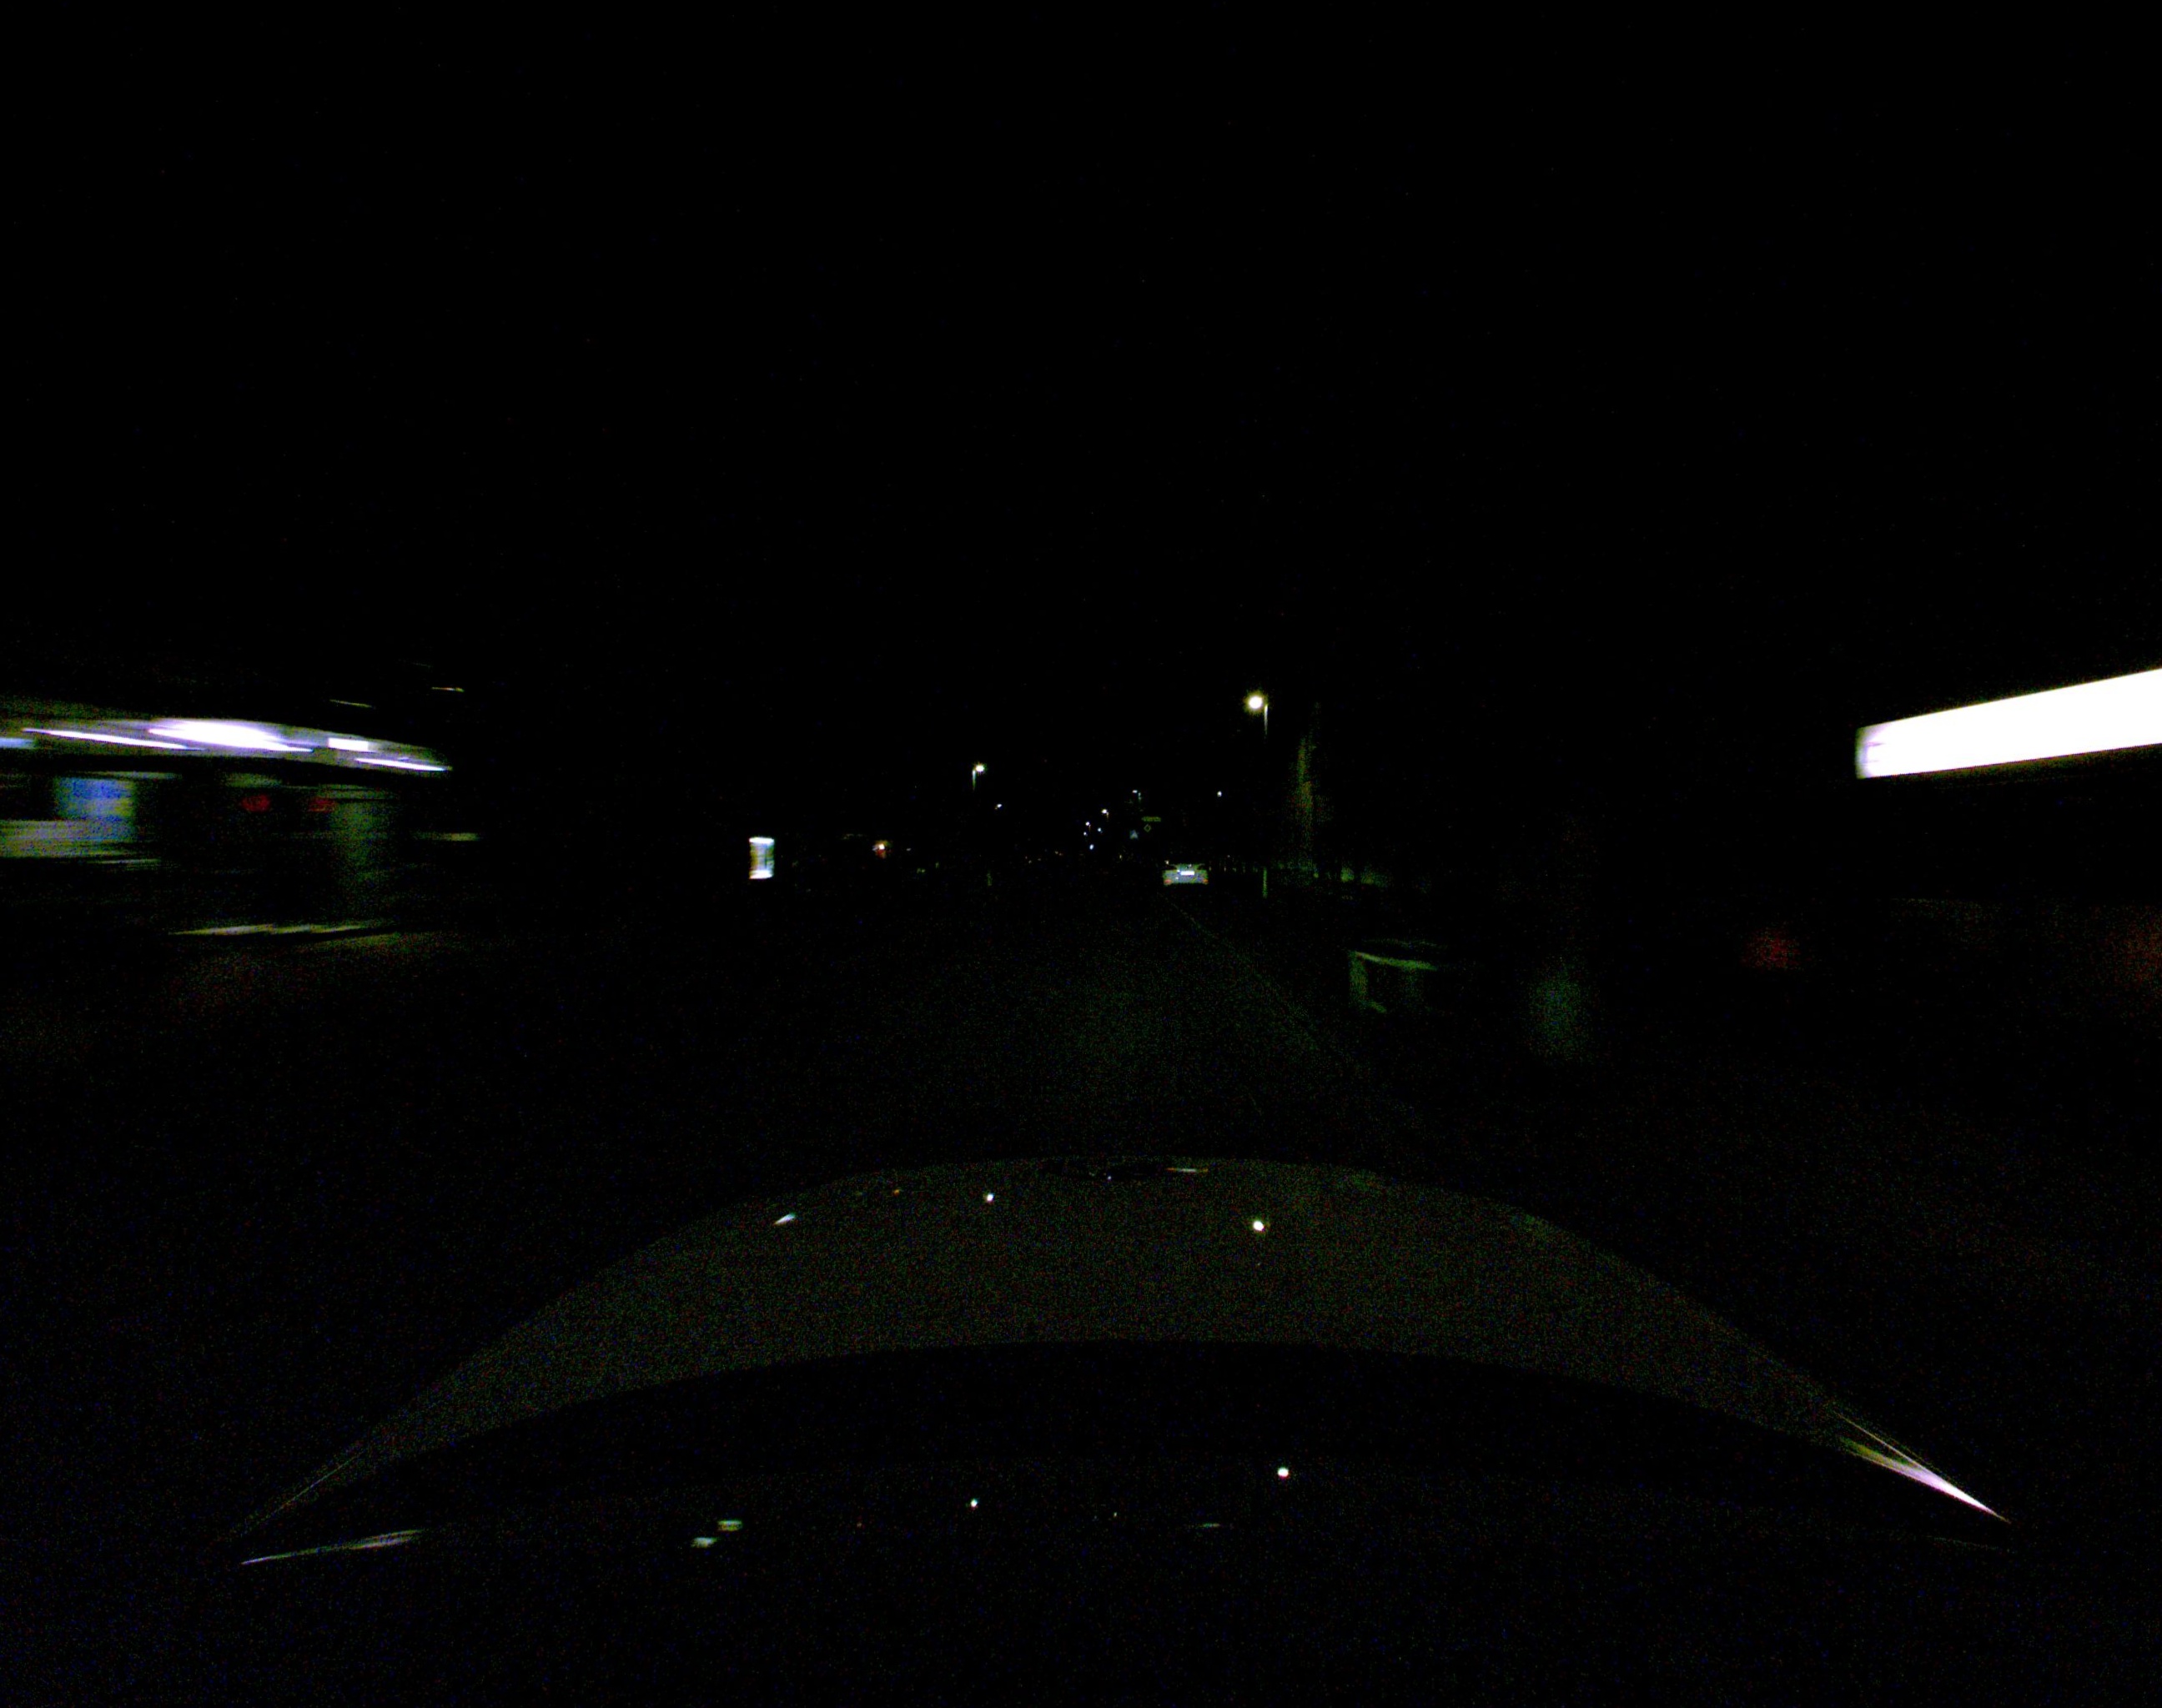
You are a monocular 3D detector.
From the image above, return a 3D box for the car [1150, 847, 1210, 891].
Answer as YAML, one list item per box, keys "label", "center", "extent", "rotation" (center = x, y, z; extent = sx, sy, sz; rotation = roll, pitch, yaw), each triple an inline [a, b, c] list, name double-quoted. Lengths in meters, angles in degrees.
- label: "car"
  center: [3.800, 0.546, 31.843]
  extent: [1.737, 1.569, 4.206]
  rotation: [-1, 0, -1]

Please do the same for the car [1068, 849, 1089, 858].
- label: "car"
  center: [-0.617, -0.185, 204.143]
  extent: [5.173, 2.013, 2.098]
  rotation: [-1, 0, -4]

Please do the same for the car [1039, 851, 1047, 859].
- label: "car"
  center: [-10.428, 0.216, 223.752]
  extent: [1.821, 1.987, 4.457]
  rotation: [2, -3, -4]

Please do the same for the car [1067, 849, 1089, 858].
- label: "car"
  center: [-0.751, -0.202, 201.069]
  extent: [5.173, 2.013, 2.098]
  rotation: [-1, 0, -4]

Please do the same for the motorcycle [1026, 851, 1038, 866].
- label: "motorcycle"
  center: [-4.595, 0.422, 76.206]
  extent: [0.742, 1.452, 2.199]
  rotation: [0, 0, 6]

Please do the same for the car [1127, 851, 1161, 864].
- label: "car"
  center: [7.173, 0.382, 92.574]
  extent: [3.699, 1.473, 1.730]
  rotation: [0, 0, 0]

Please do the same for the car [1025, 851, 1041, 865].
- label: "car"
  center: [-5.599, 0.455, 95.669]
  extent: [1.683, 1.510, 4.275]
  rotation: [0, 0, -2]

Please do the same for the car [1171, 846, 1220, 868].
- label: "car"
  center: [9.157, 0.219, 65.206]
  extent: [3.498, 1.525, 1.818]
  rotation: [-3, 0, -4]
